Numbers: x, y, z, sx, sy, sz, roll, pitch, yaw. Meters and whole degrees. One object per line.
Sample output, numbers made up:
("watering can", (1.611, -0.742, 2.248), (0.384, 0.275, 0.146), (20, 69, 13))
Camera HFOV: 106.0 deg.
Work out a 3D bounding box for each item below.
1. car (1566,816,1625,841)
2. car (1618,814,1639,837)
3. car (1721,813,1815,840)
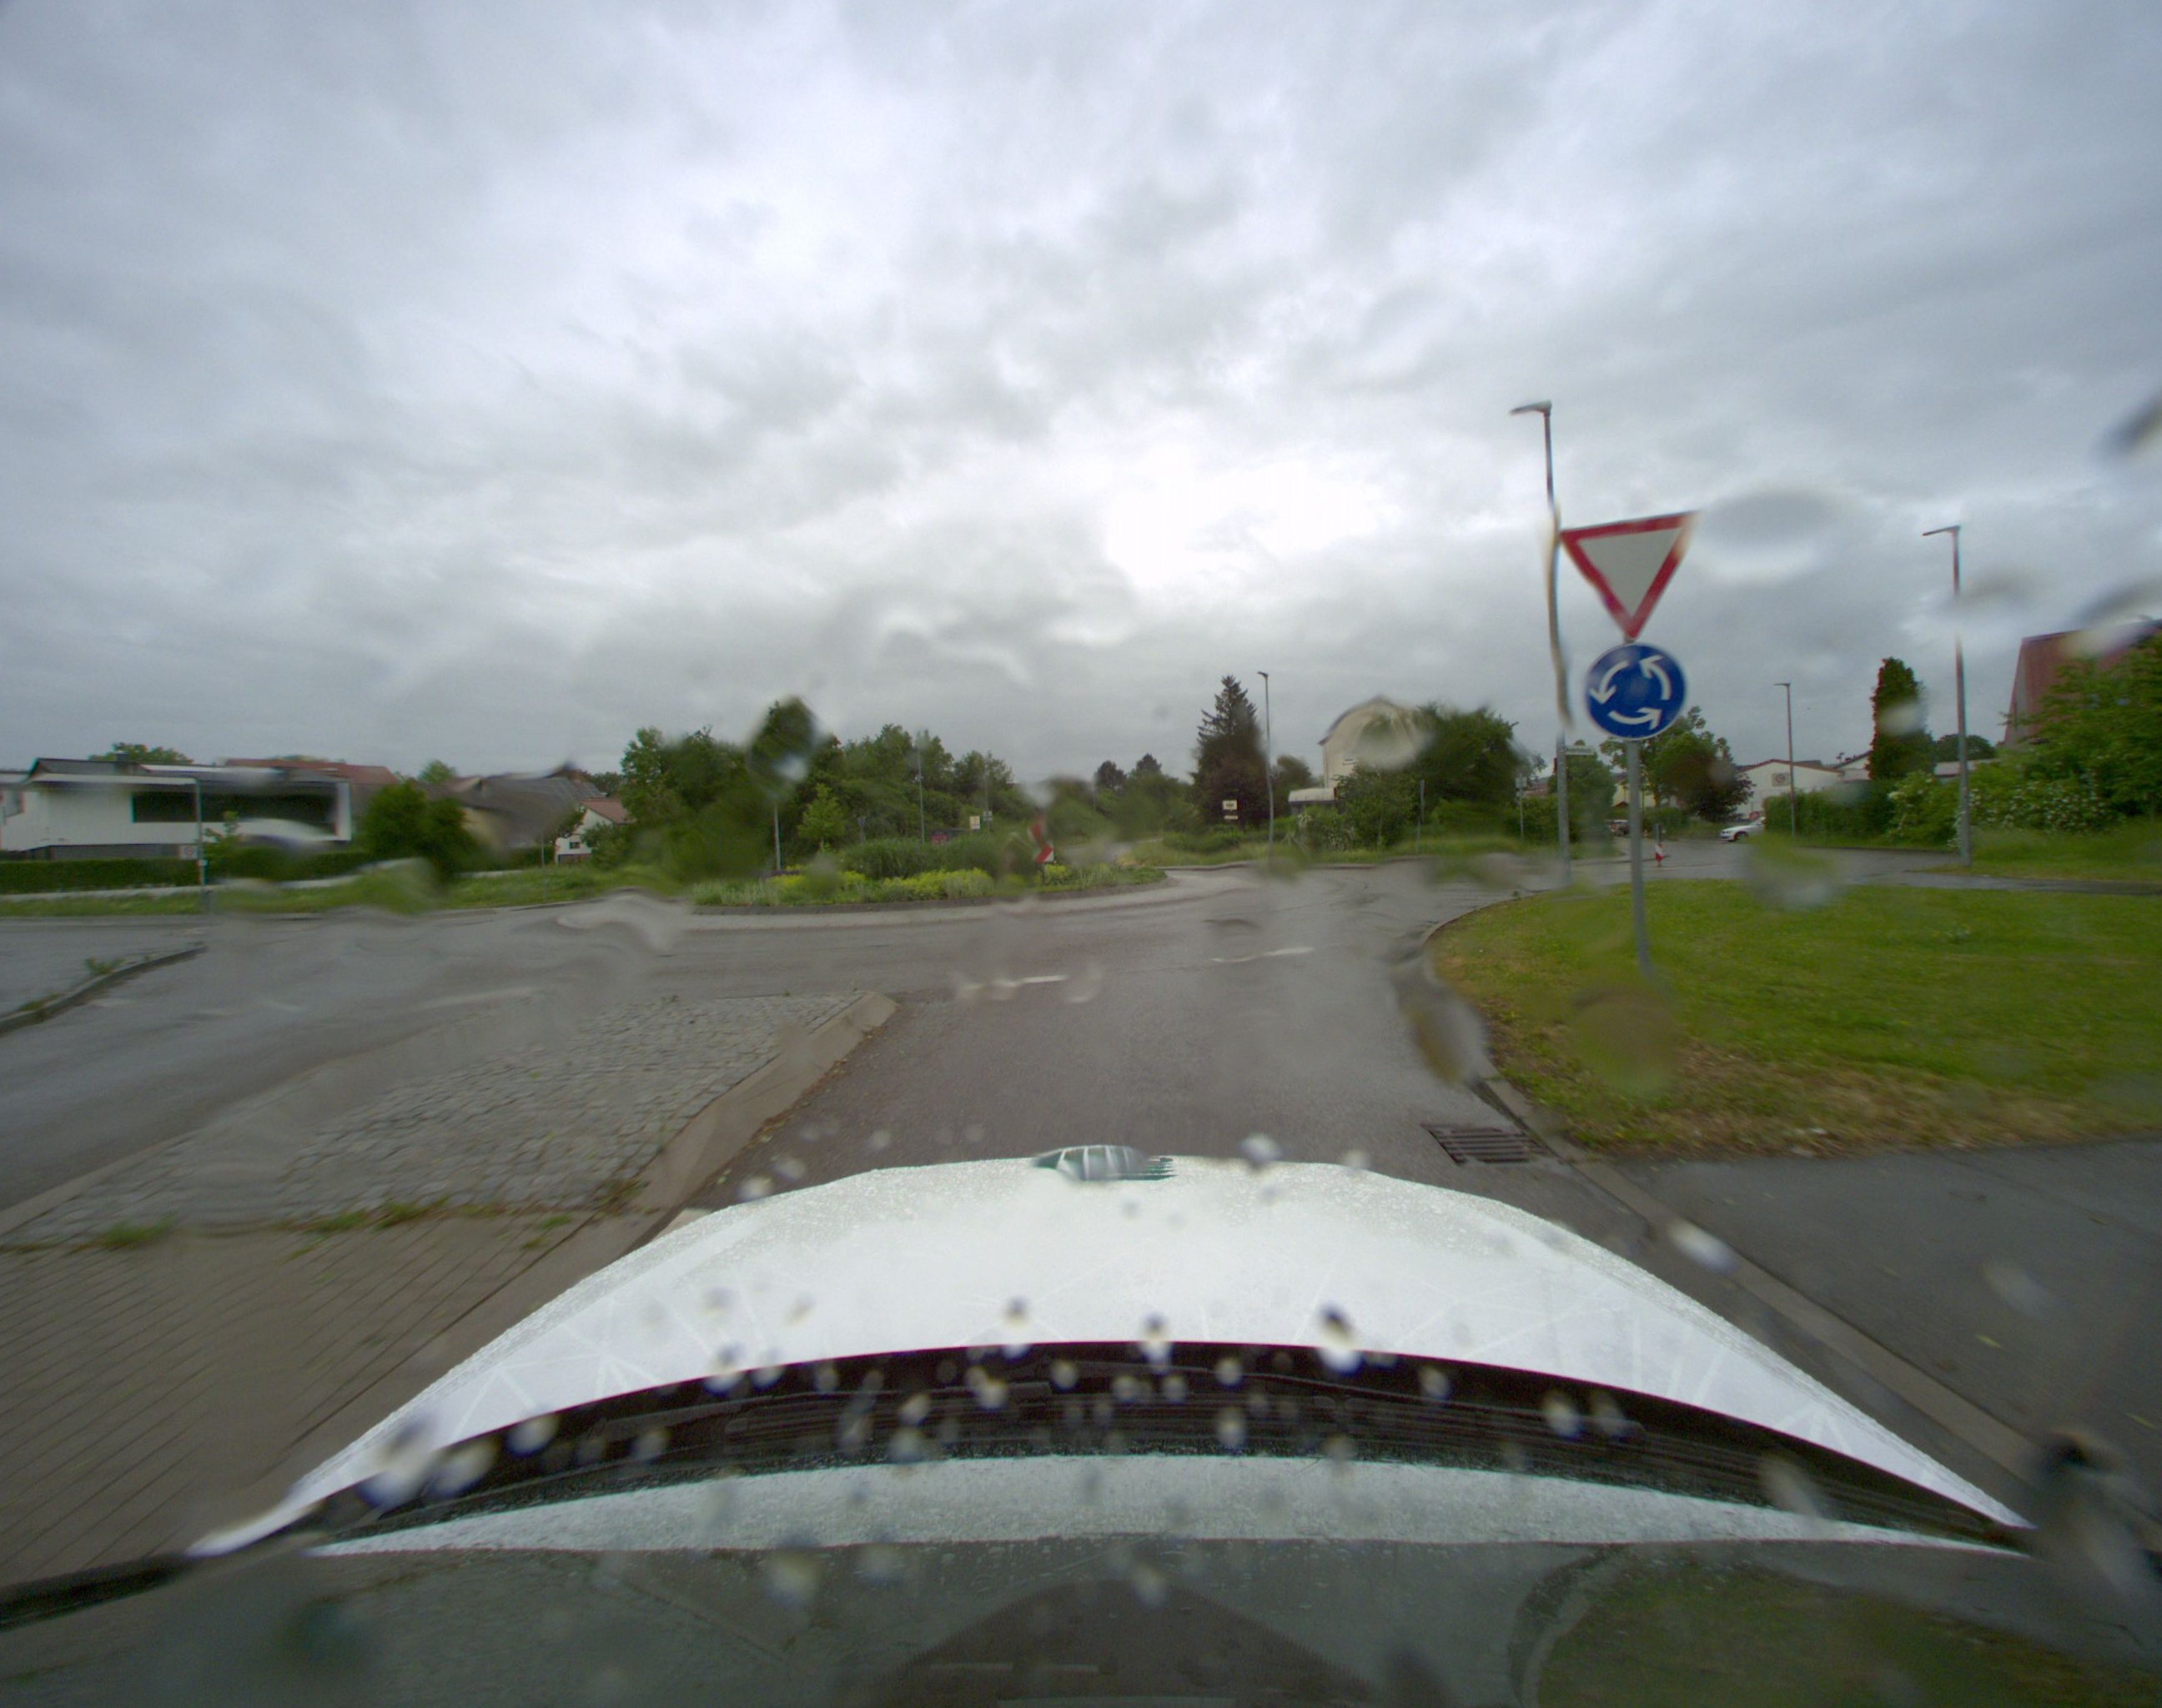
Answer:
("car", (44.000, -2.191, 69.736), (3.948, 1.827, 1.909), (-3, -1, 41))
("car", (52.481, -2.732, 78.092), (1.568, 2.013, 4.026), (-3, 0, 34))
("car", (40.759, -1.610, 48.430), (3.949, 1.374, 1.795), (-2, 1, 27))
